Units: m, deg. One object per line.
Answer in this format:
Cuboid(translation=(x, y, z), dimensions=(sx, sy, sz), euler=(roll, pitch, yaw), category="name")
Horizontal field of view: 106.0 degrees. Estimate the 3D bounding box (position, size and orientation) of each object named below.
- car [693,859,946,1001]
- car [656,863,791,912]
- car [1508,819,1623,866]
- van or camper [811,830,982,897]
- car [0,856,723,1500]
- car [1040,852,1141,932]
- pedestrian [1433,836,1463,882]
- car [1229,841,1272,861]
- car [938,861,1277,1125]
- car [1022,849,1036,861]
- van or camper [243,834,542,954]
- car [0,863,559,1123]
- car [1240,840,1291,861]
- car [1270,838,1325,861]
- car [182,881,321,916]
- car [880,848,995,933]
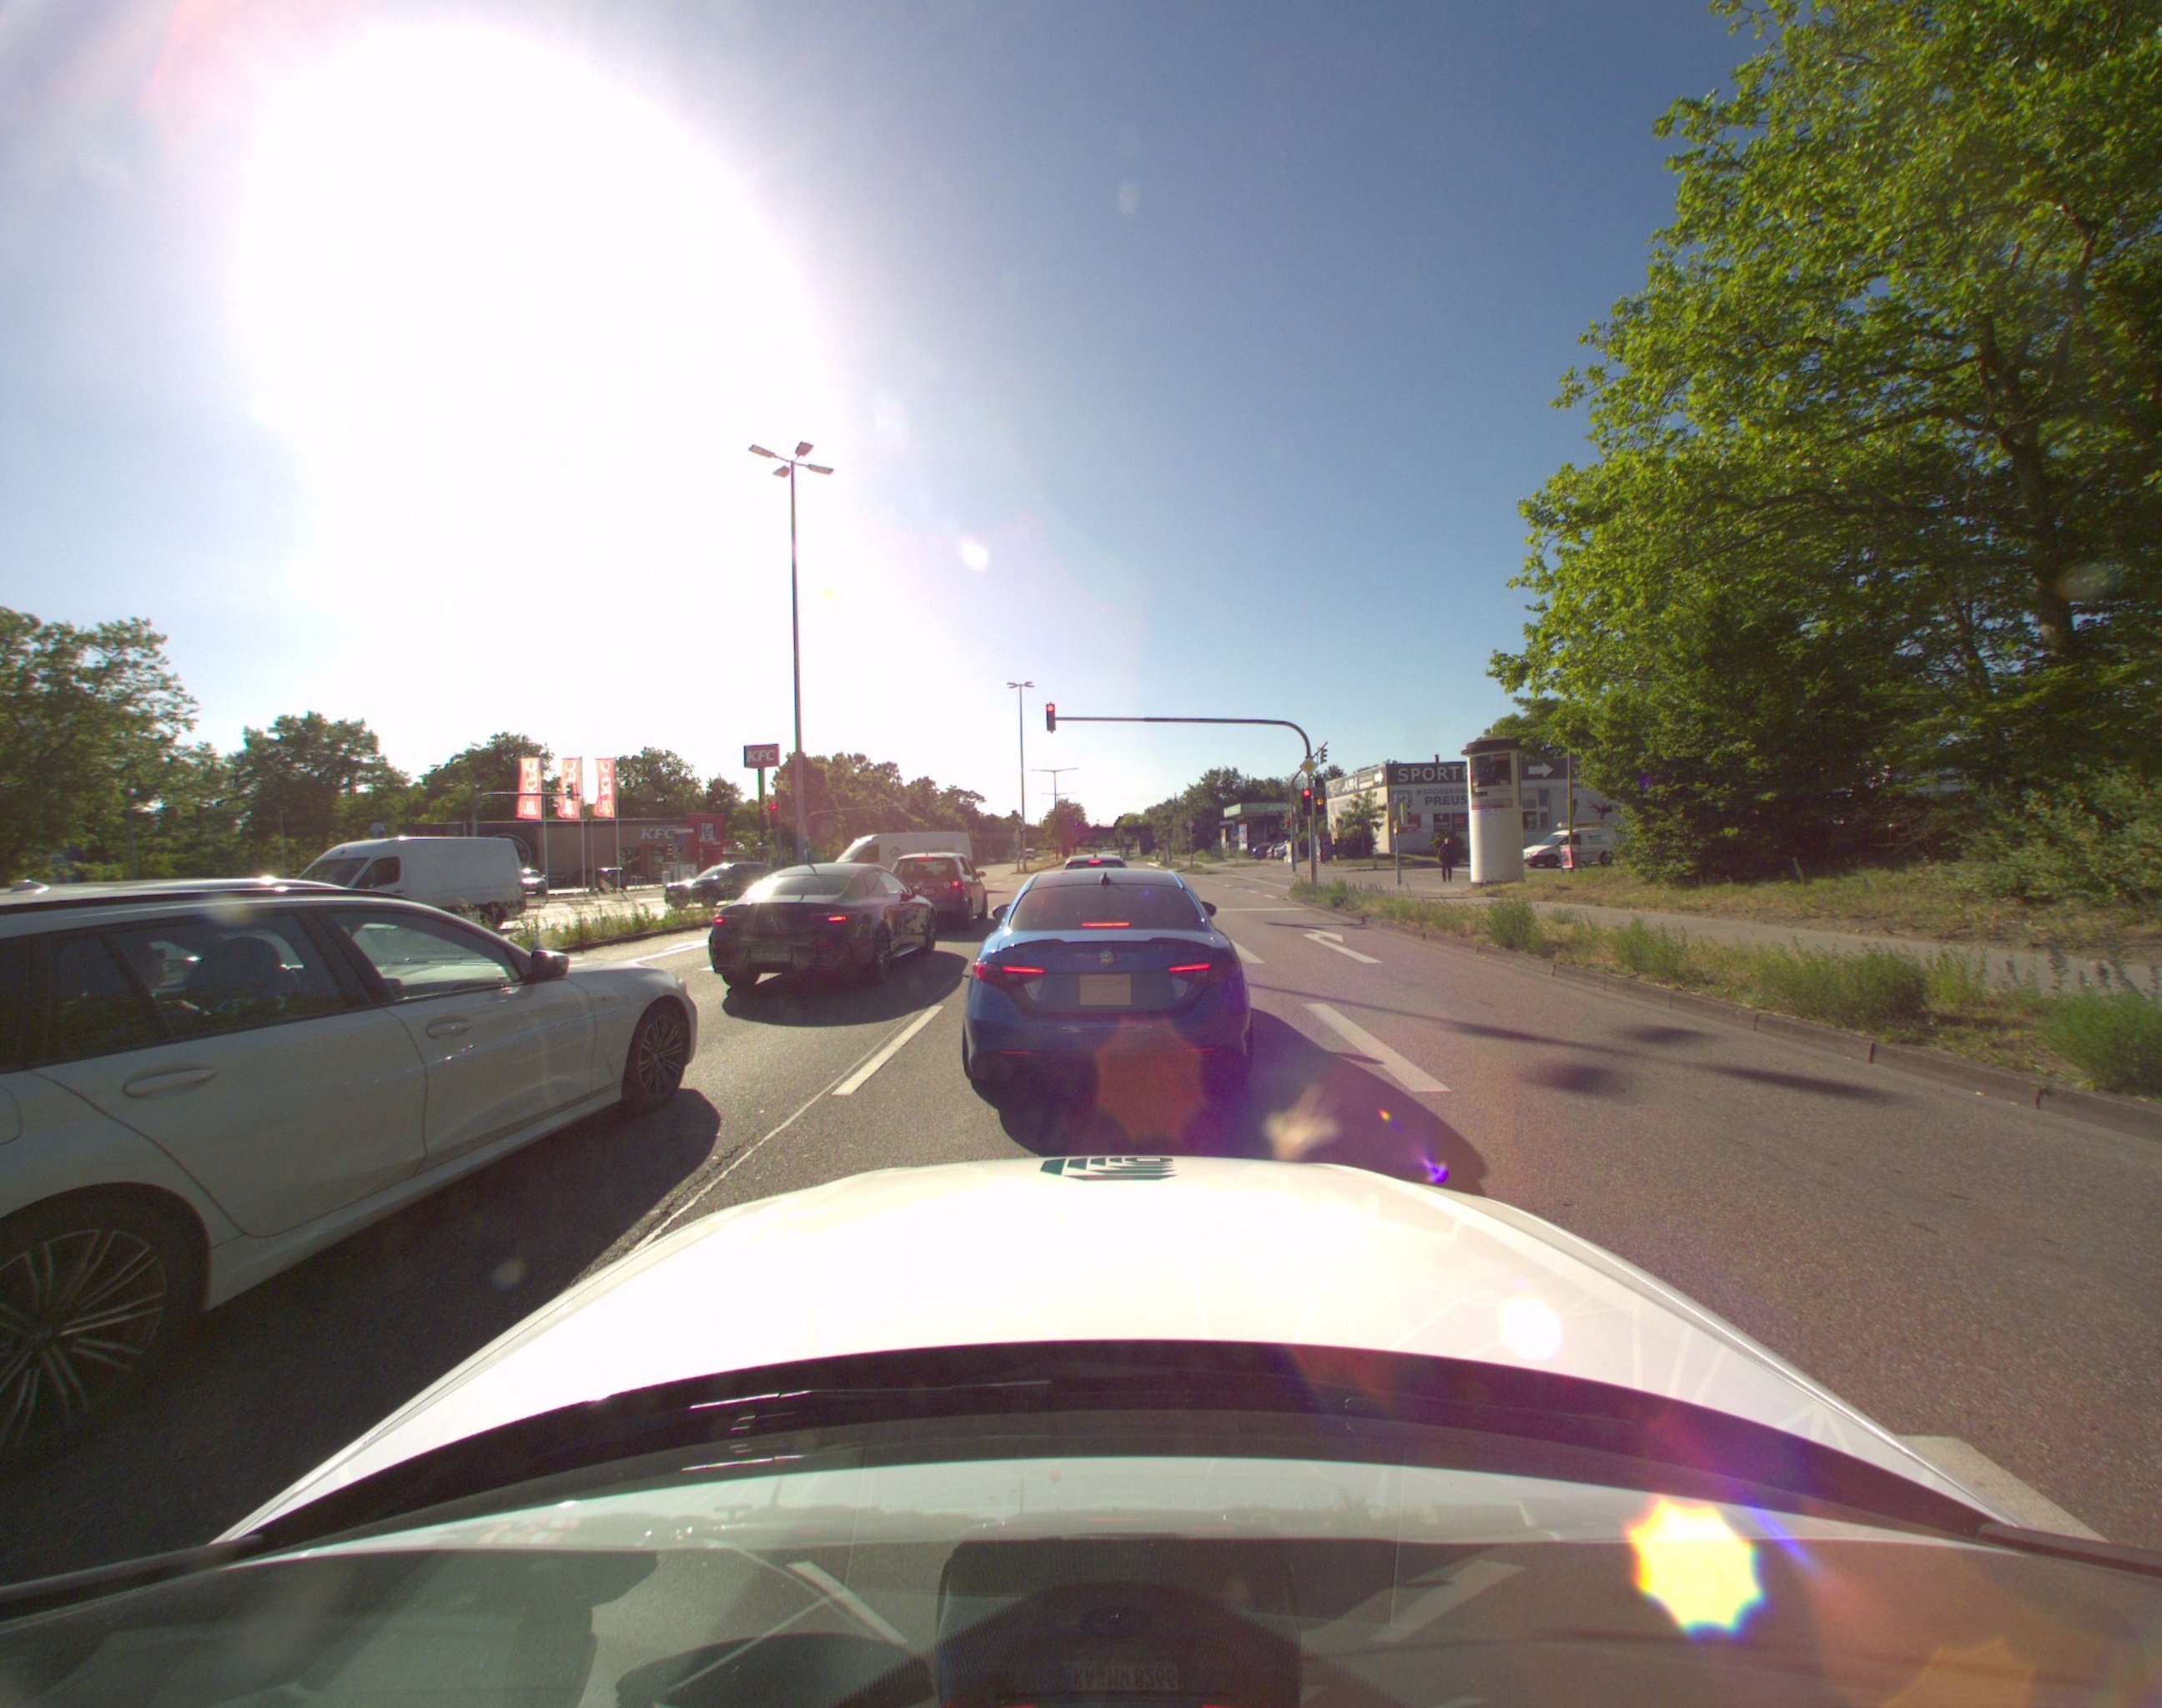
Cuboid(translation=(-3.137, 0.816, 10.838), dimensions=(1.762, 1.414, 4.463), euler=(-1, 0, 2), category="car")
Cuboid(translation=(-13.885, 1.268, 31.965), dimensions=(1.975, 1.653, 4.641), euler=(-1, 0, 26), category="car")
Cuboid(translation=(23.453, -0.543, 39.505), dimensions=(4.393, 2.145, 1.999), euler=(-1, 0, -2), category="car")
Cuboid(translation=(-7.777, 0.333, 34.856), dimensions=(6.785, 2.572, 2.161), euler=(-2, 0, -37), category="van or camper")
Cuboid(translation=(-3.424, 0.800, 3.365), dimensions=(1.762, 1.509, 4.463), euler=(-1, 0, 2), category="car")
Cuboid(translation=(0.237, 0.704, 17.201), dimensions=(1.859, 1.450, 3.933), euler=(-1, 0, 2), category="car")
Cuboid(translation=(14.257, 0.182, 31.635), dimensions=(0.818, 1.721, 0.856), euler=(-2, 0, 9), category="pedestrian")
Cuboid(translation=(15.390, -0.253, 73.973), dimensions=(3.489, 1.706, 1.687), euler=(-2, 0, -14), category="car")
Cuboid(translation=(0.207, 0.790, 6.484), dimensions=(1.859, 1.385, 3.933), euler=(-1, 0, 2), category="car")
Cuboid(translation=(-11.202, 0.177, 175.250), dimensions=(2.423, 2.427, 5.831), euler=(-2, 0, 0), category="car")
Cuboid(translation=(-17.406, 0.891, 21.186), dimensions=(1.981, 2.651, 5.974), euler=(-1, 0, 11), category="van or camper")
Cuboid(translation=(-6.952, 0.850, 6.957), dimensions=(1.849, 1.429, 4.409), euler=(-1, 0, 5), category="car")
Cuboid(translation=(16.047, -0.289, 70.764), dimensions=(3.997, 1.706, 1.685), euler=(-1, 0, -18), category="car")
Cuboid(translation=(17.517, -0.359, 65.870), dimensions=(3.993, 1.706, 1.687), euler=(-2, 0, -15), category="car")
Cuboid(translation=(-39.242, 2.091, 38.583), dimensions=(4.701, 1.429, 1.865), euler=(-1, 1, 2), category="car")
Cuboid(translation=(-2.987, 0.701, 17.746), dimensions=(1.642, 1.598, 3.933), euler=(-1, 0, 2), category="car")
